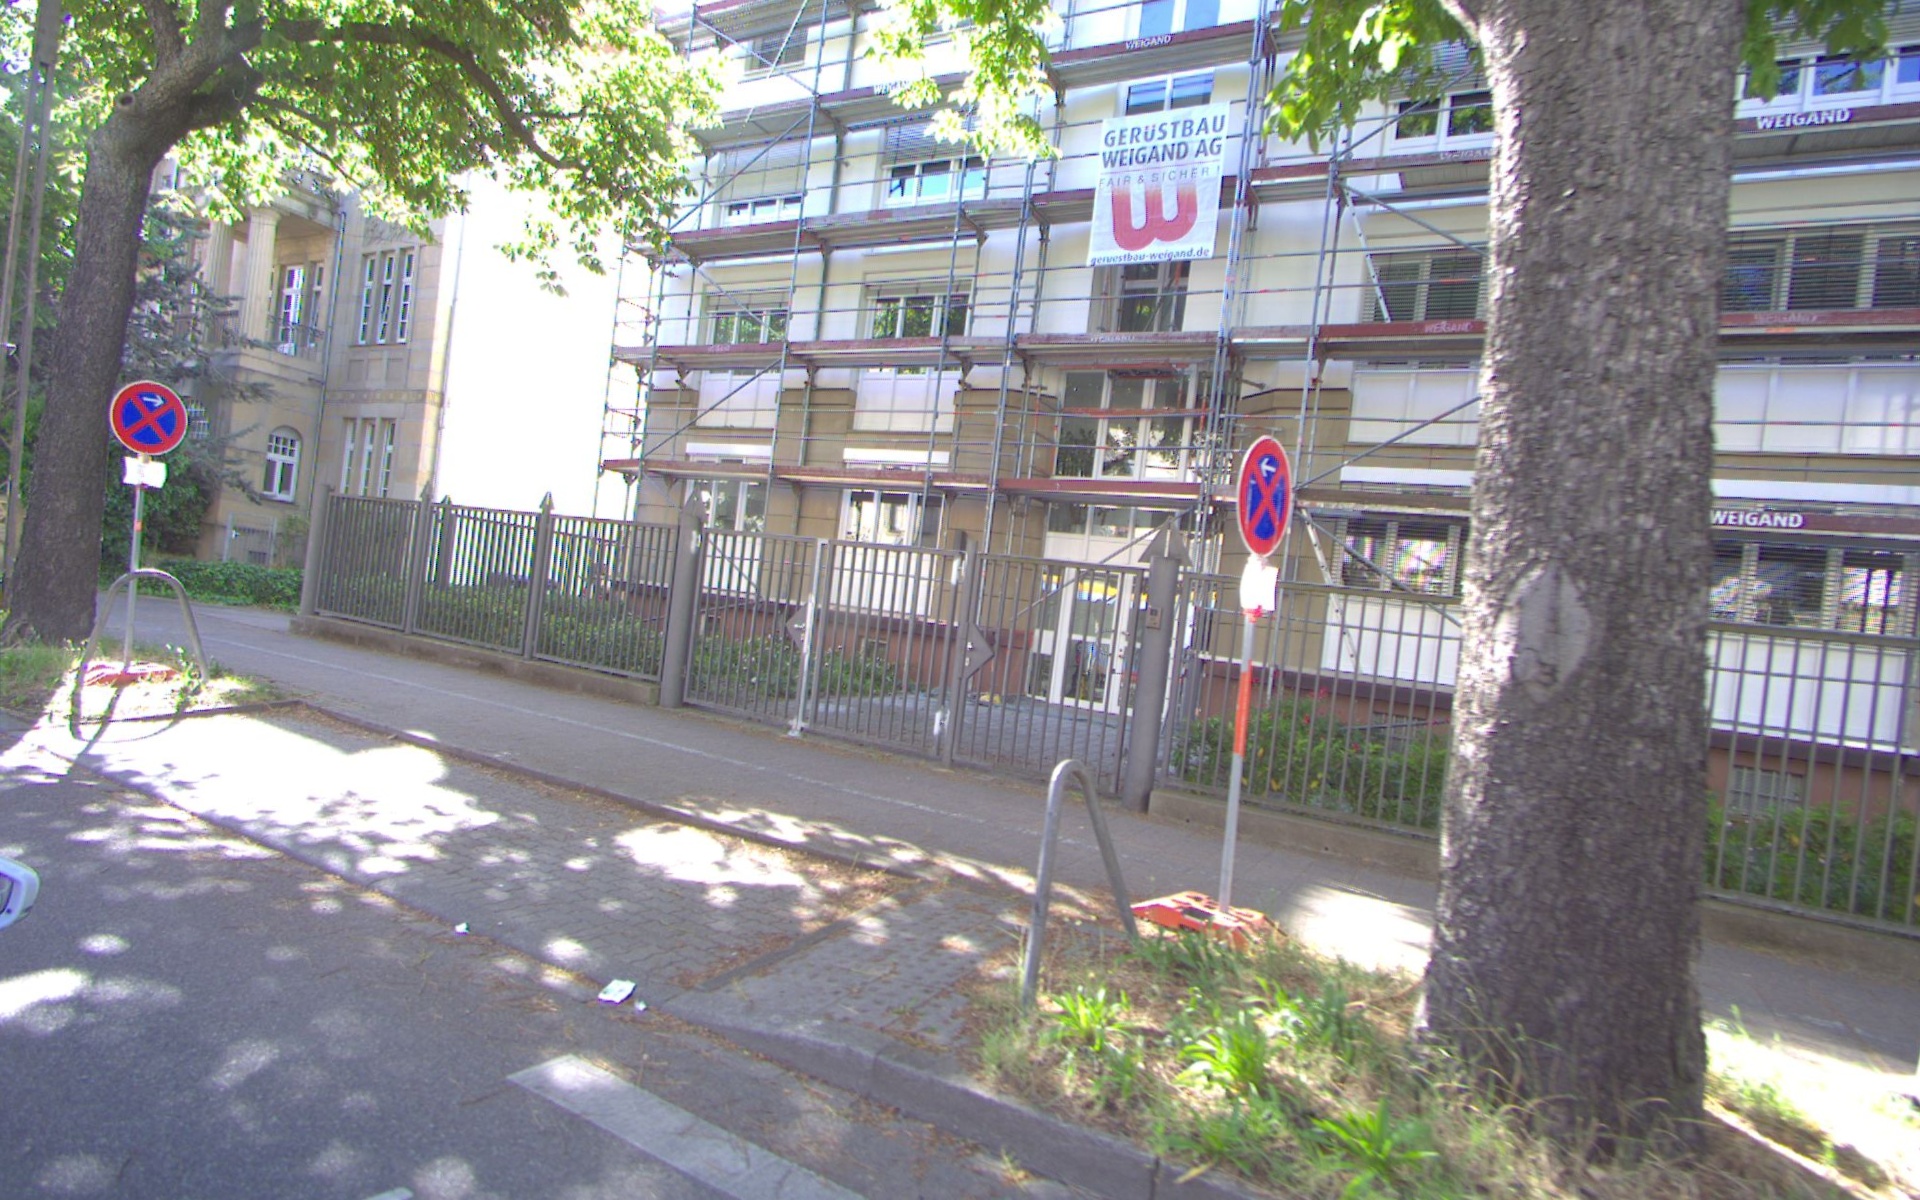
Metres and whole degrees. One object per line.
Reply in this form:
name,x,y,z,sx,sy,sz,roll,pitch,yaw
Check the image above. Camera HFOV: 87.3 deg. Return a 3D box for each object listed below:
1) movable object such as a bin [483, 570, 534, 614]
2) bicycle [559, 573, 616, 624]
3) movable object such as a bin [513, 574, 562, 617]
movable object such as a bin,-11.292,-0.198,25.166,0.637,0.966,0.835,6,-2,30
bicycle,-9.934,-0.022,26.883,0.428,1.213,1.701,7,-2,14
movable object such as a bin,-10.889,-0.113,25.934,0.637,0.966,0.835,6,-2,30
